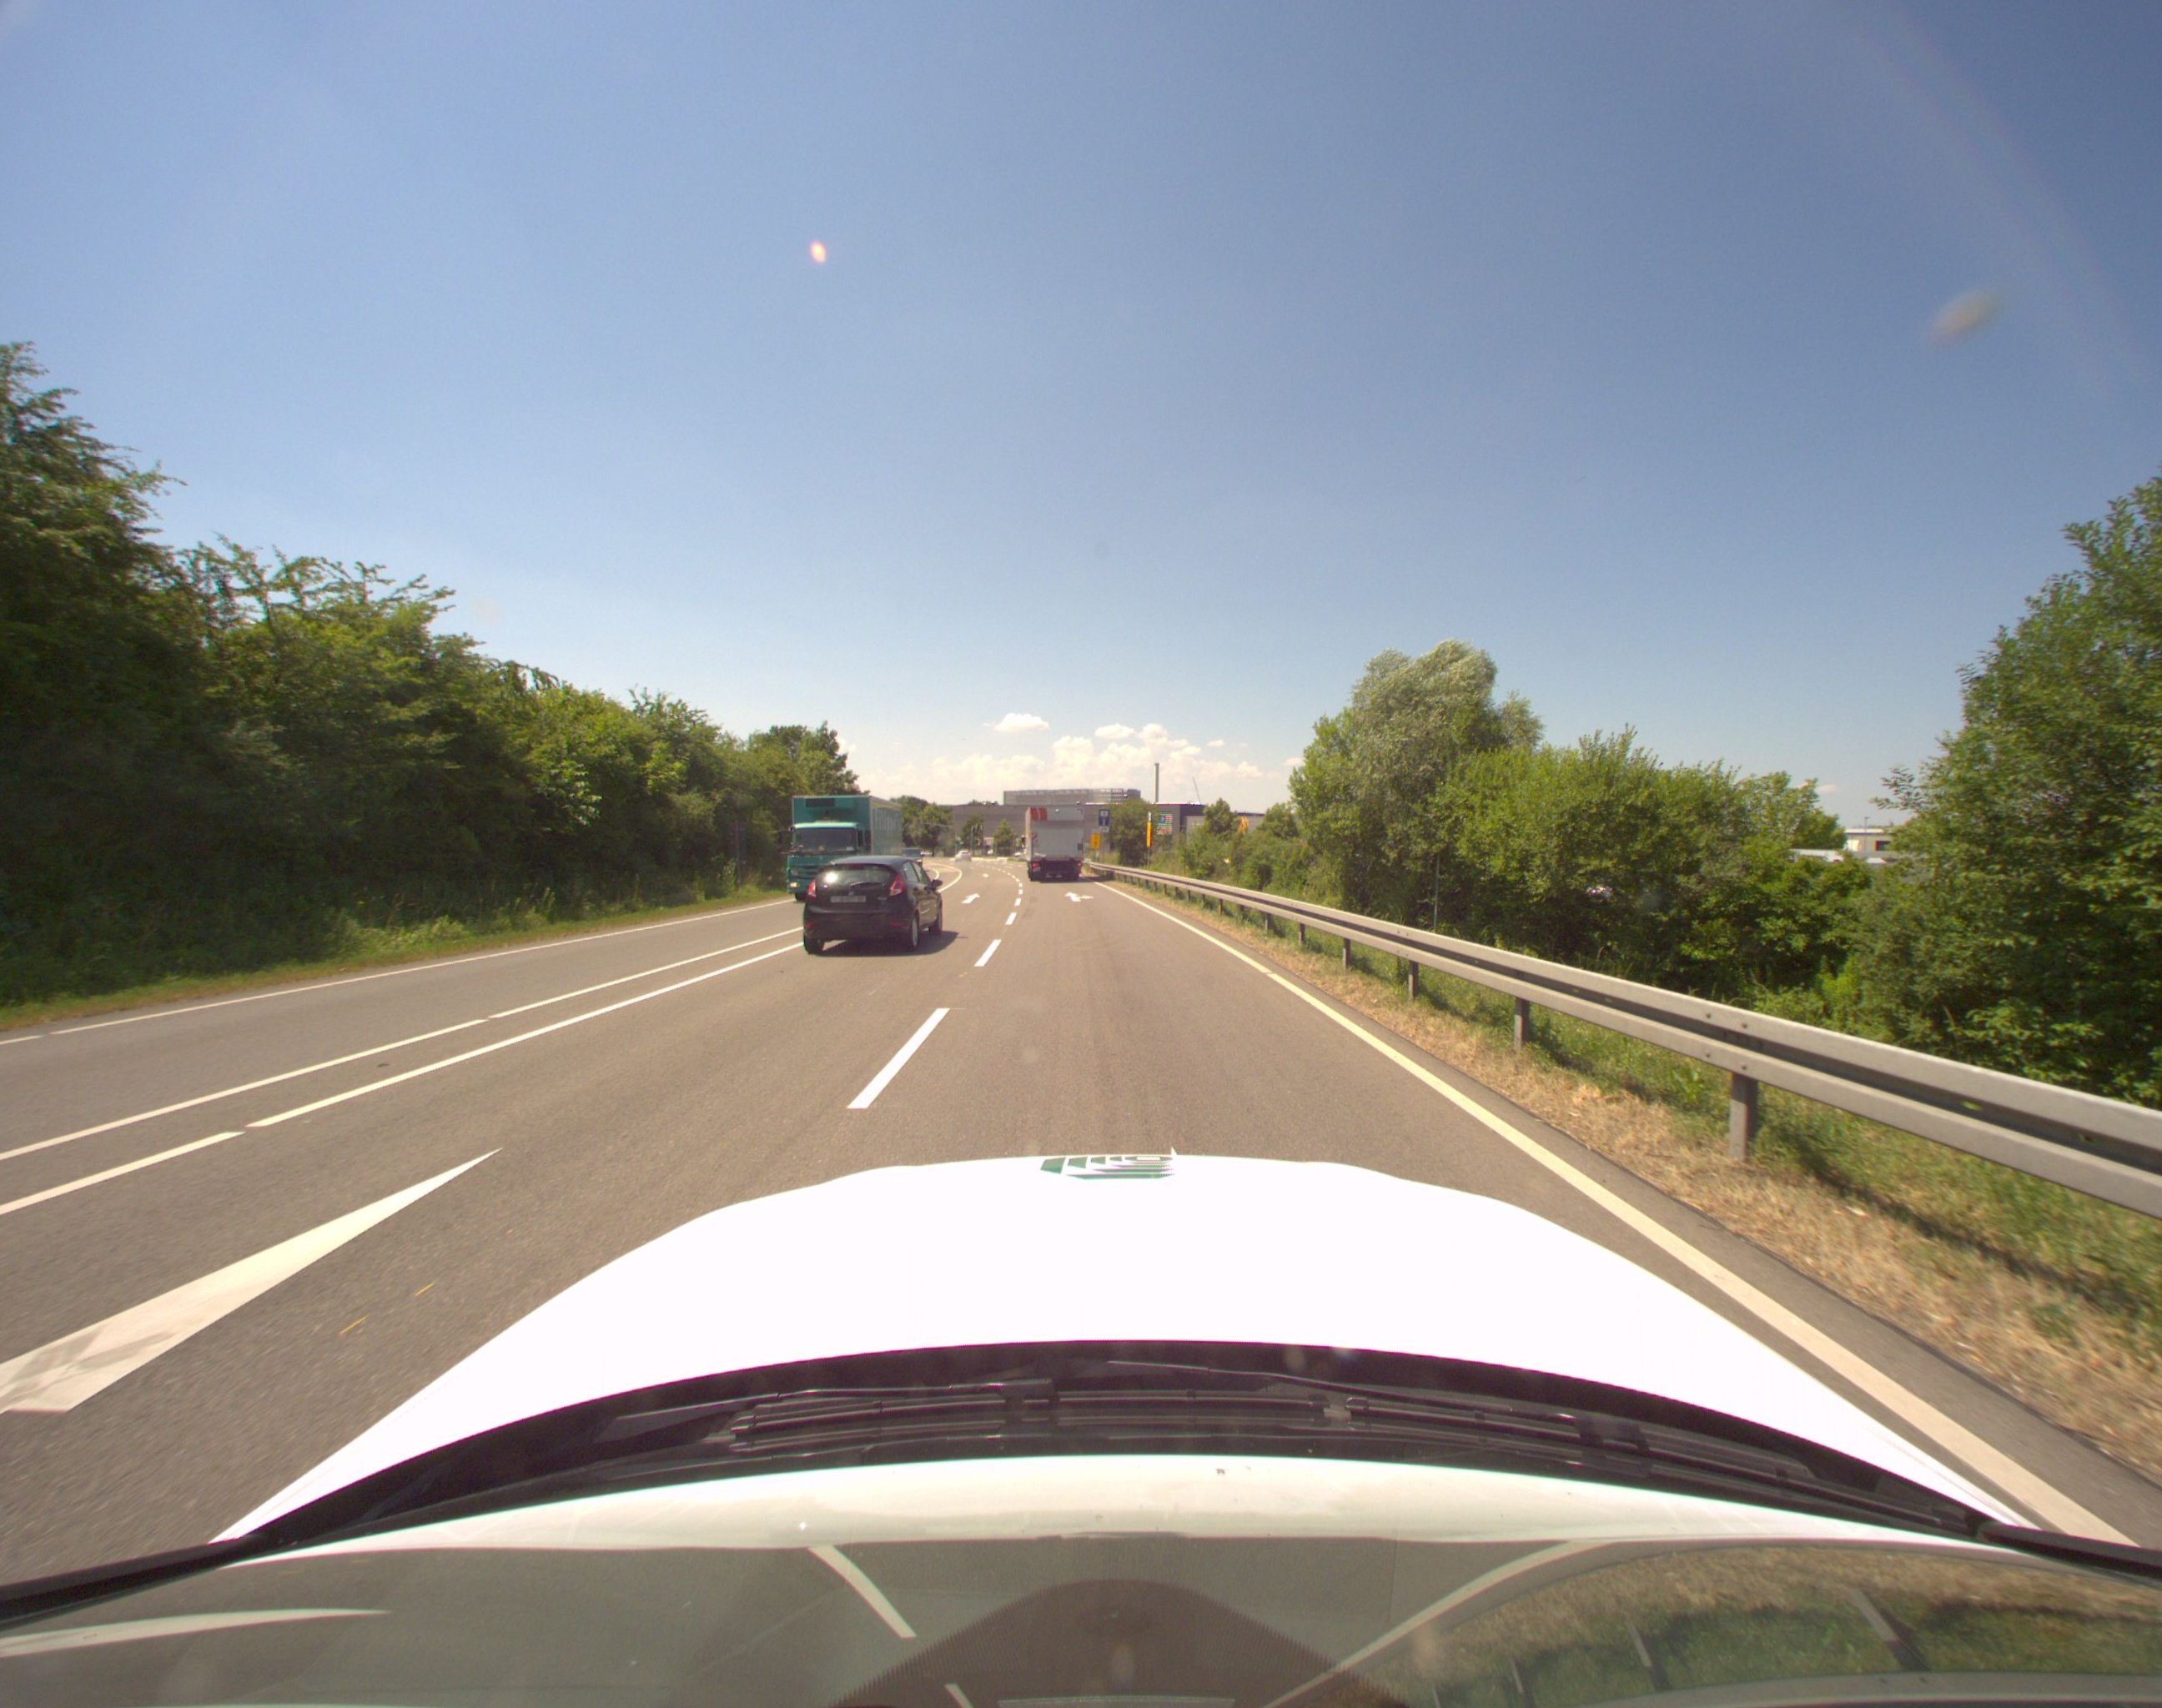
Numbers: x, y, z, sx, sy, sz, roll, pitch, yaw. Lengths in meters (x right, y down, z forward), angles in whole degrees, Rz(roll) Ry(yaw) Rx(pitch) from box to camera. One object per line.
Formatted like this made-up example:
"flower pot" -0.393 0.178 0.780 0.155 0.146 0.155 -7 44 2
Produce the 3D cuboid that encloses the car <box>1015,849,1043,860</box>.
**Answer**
"car" -9.578 0.079 150.433 4.719 1.932 2.158 -1 0 7

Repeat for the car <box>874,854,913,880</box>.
"car" -11.127 0.722 48.629 1.876 1.442 4.317 -1 0 -8

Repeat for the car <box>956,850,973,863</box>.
"car" -16.345 0.370 114.186 1.947 1.664 3.980 2 0 -15

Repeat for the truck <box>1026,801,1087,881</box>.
"truck" -1.378 -0.668 42.050 2.797 3.710 9.097 0 1 -3

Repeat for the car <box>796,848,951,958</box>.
"car" -3.298 0.692 13.744 1.648 1.493 4.205 0 1 -2

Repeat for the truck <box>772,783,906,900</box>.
"truck" -8.442 -0.421 29.729 2.865 3.574 9.412 -1 0 -6

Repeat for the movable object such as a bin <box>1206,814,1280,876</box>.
"movable object such as a bin" 14.842 -0.992 75.433 3.425 5.259 9.197 1 2 -11

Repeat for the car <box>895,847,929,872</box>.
"car" -13.622 0.435 65.960 1.990 1.894 5.095 -1 1 -5
